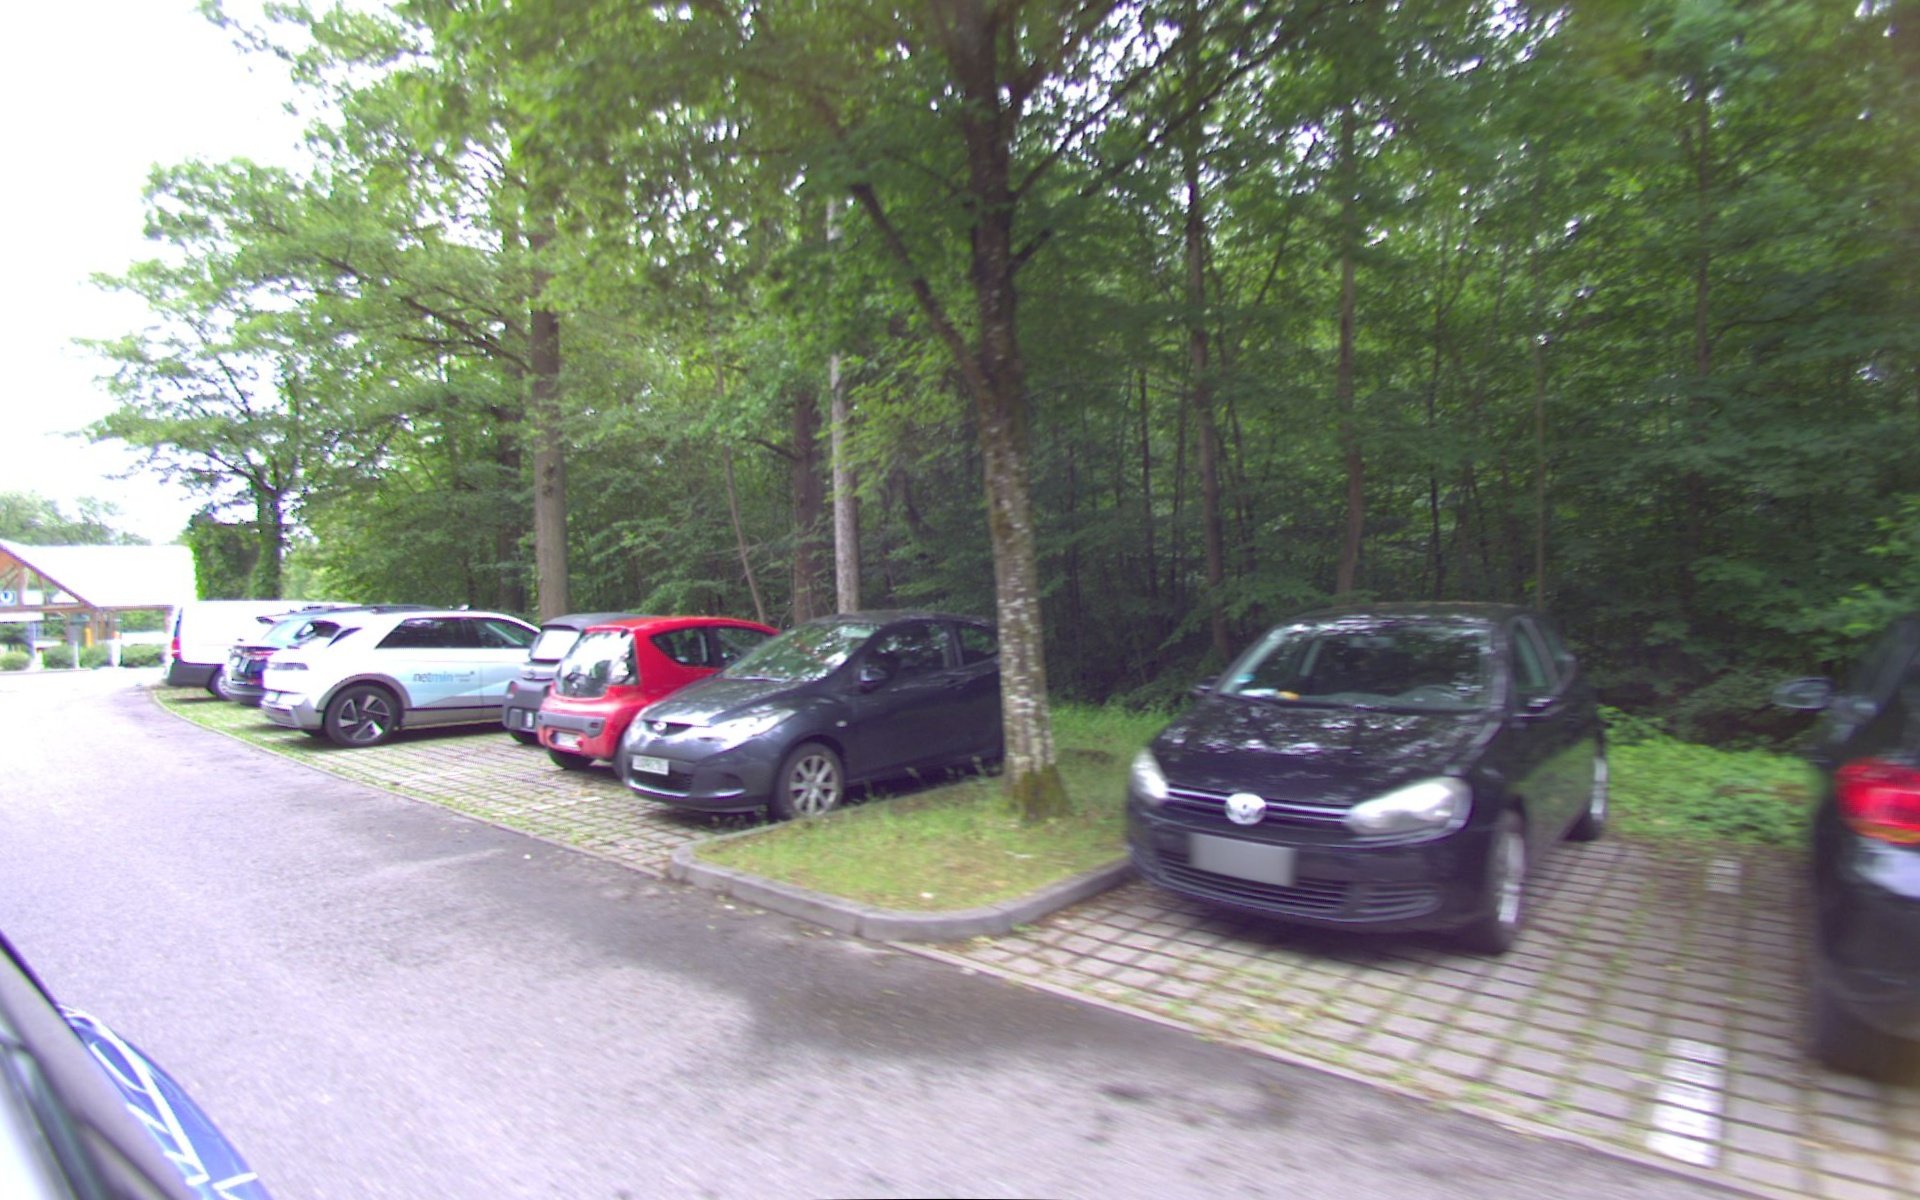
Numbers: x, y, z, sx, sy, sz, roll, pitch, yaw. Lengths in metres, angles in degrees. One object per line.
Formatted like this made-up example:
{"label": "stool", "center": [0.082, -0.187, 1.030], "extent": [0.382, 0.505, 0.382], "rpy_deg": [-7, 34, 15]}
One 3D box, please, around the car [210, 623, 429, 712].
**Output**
{"label": "car", "center": [-11.636, 1.182, 18.455], "extent": [3.184, 1.478, 1.658], "rpy_deg": [1, -3, -39]}

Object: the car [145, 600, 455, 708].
{"label": "car", "center": [-13.191, 0.981, 20.429], "extent": [5.023, 1.930, 1.981], "rpy_deg": [0, -1, -41]}

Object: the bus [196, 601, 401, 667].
{"label": "bus", "center": [-36.260, 1.813, 56.211], "extent": [2.784, 3.183, 10.474], "rpy_deg": [-4, -2, 13]}

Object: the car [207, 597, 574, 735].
{"label": "car", "center": [-8.369, 0.863, 15.106], "extent": [4.373, 1.707, 2.173], "rpy_deg": [-1, -1, -43]}

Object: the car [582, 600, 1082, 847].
{"label": "car", "center": [-0.814, 0.793, 8.252], "extent": [1.706, 1.502, 3.947], "rpy_deg": [-2, -2, 40]}

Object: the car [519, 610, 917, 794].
{"label": "car", "center": [-2.311, 0.876, 10.219], "extent": [1.675, 1.485, 3.566], "rpy_deg": [-2, -2, 44]}

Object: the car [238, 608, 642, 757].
{"label": "car", "center": [-6.651, 0.923, 13.256], "extent": [2.032, 1.610, 4.305], "rpy_deg": [-1, -1, 45]}

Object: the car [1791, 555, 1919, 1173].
{"label": "car", "center": [4.331, 0.640, 3.602], "extent": [2.005, 1.541, 4.189], "rpy_deg": [-1, -1, 41]}

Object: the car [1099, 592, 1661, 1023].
{"label": "car", "center": [2.638, 0.710, 5.657], "extent": [1.719, 1.484, 4.190], "rpy_deg": [-1, 0, 40]}

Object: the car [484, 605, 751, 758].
{"label": "car", "center": [-4.007, 0.874, 12.048], "extent": [1.445, 1.553, 2.632], "rpy_deg": [-2, -1, 41]}
